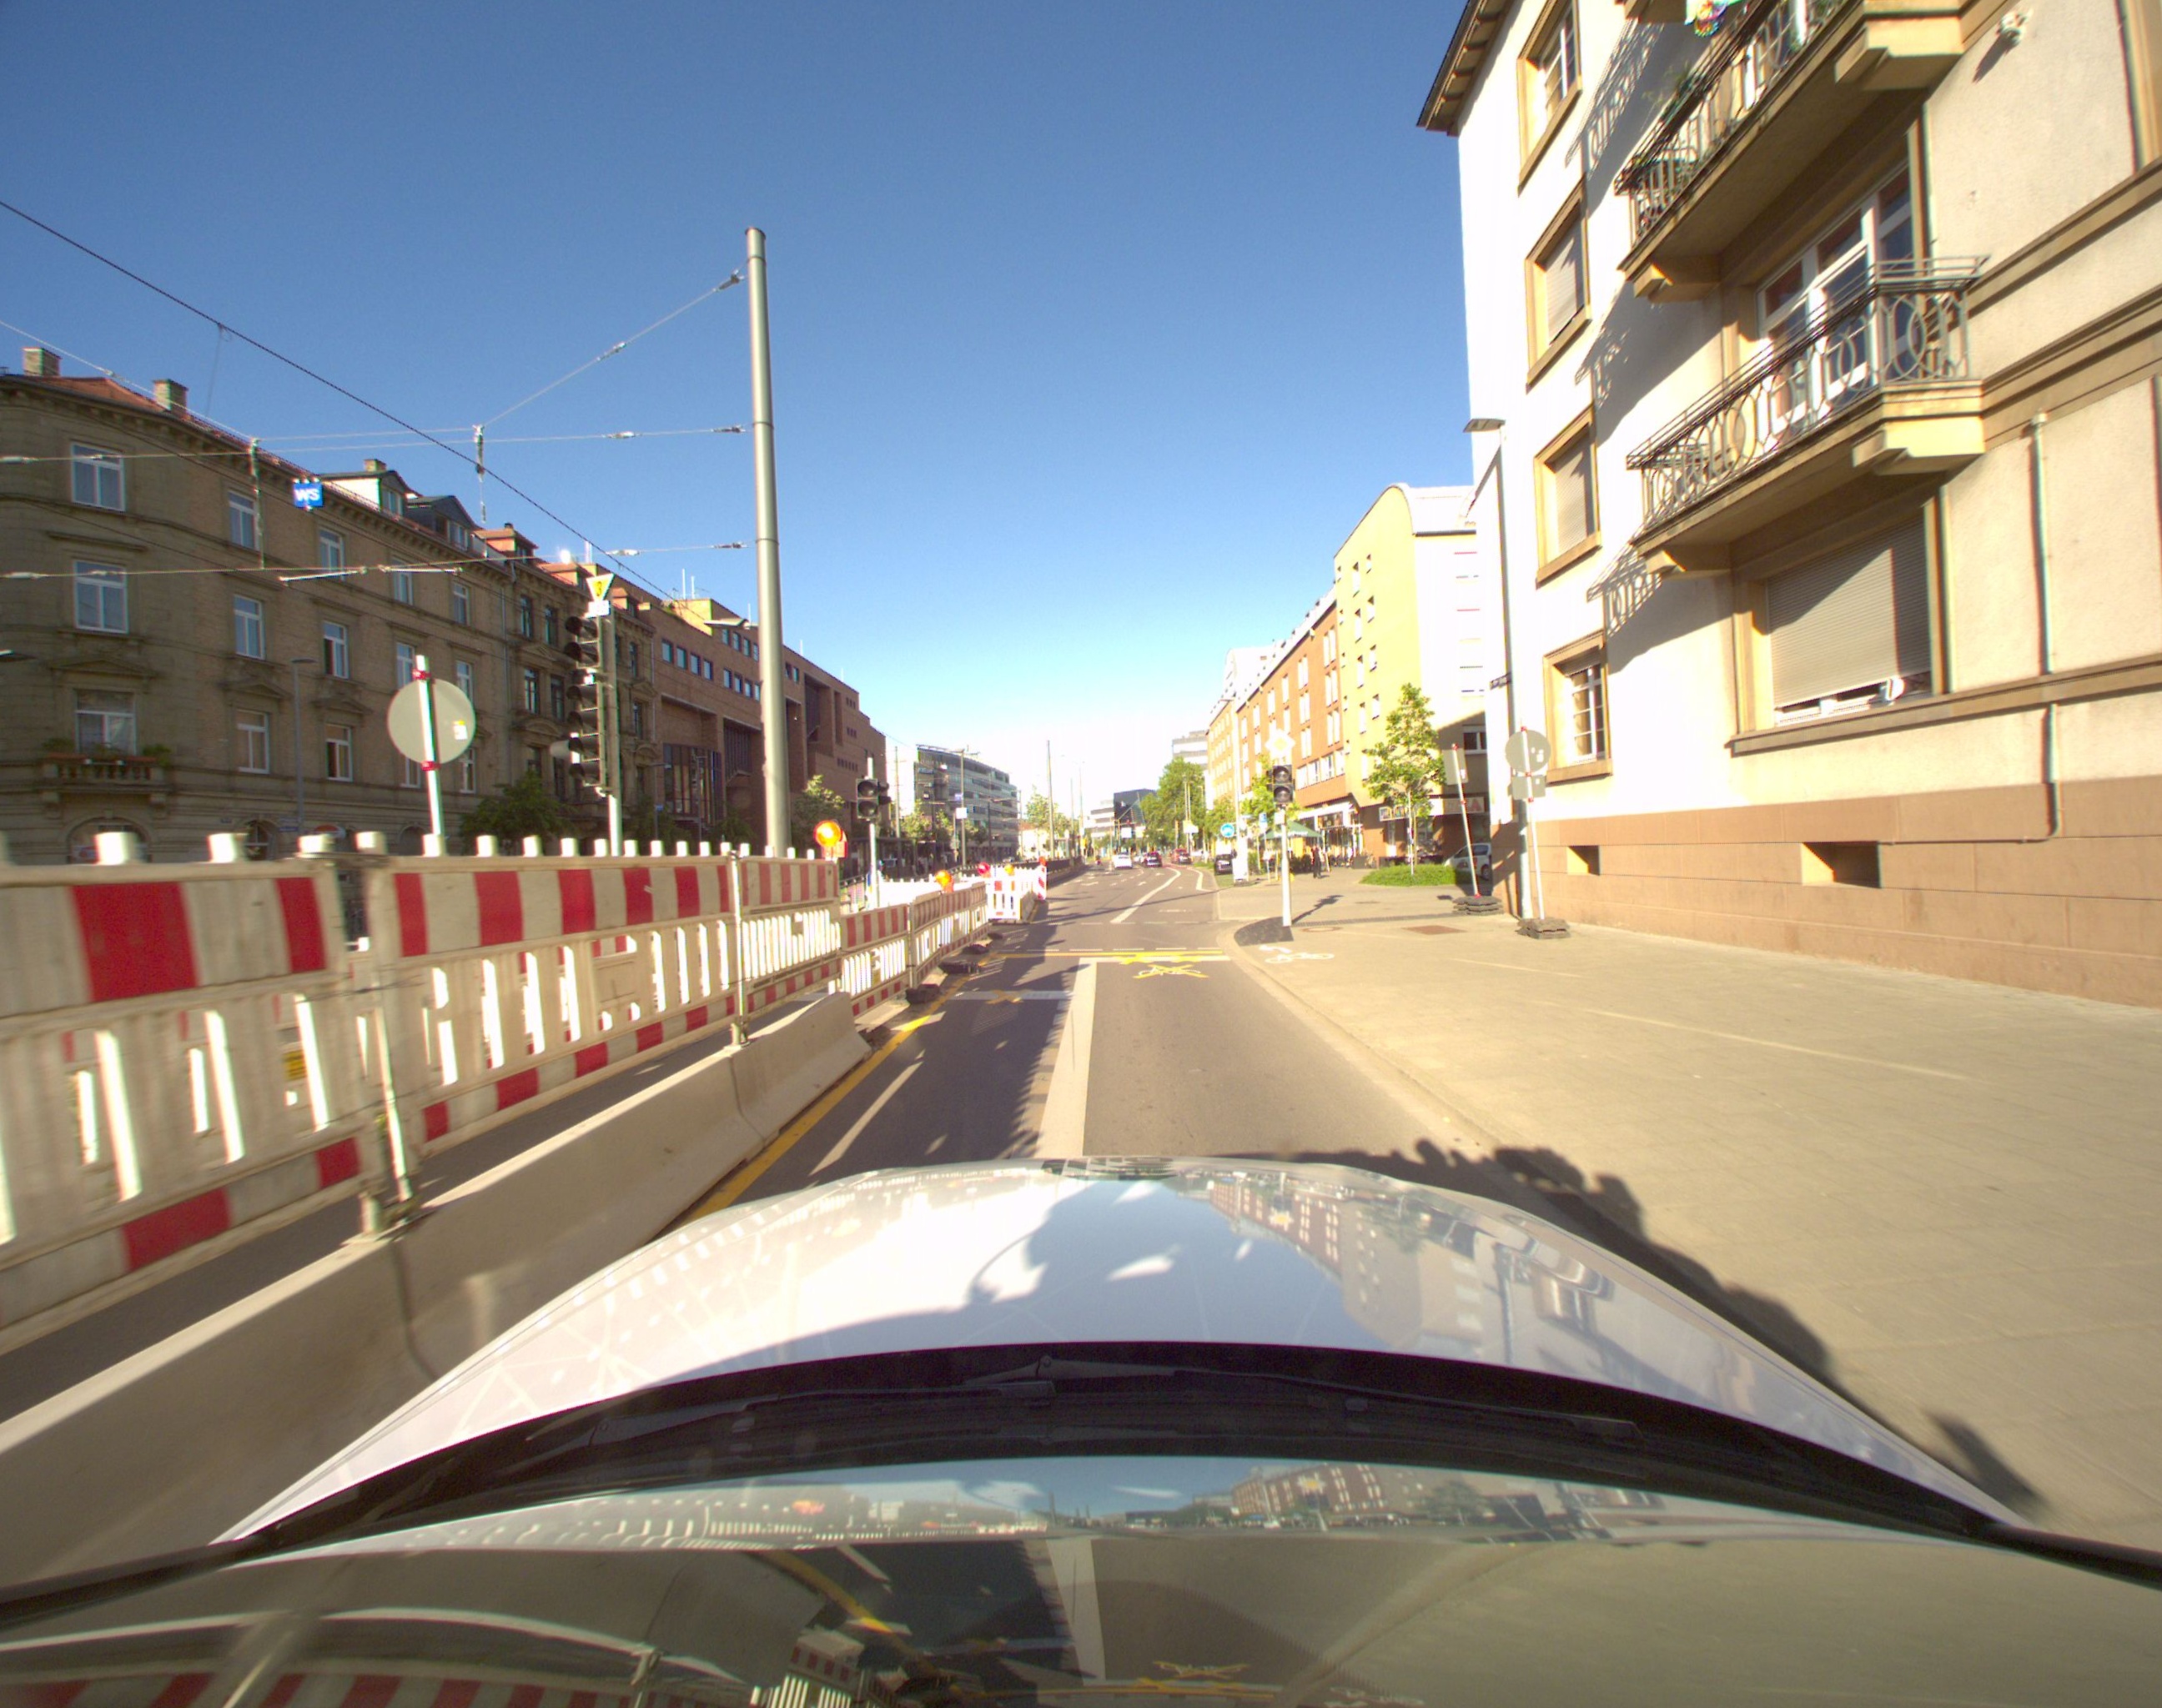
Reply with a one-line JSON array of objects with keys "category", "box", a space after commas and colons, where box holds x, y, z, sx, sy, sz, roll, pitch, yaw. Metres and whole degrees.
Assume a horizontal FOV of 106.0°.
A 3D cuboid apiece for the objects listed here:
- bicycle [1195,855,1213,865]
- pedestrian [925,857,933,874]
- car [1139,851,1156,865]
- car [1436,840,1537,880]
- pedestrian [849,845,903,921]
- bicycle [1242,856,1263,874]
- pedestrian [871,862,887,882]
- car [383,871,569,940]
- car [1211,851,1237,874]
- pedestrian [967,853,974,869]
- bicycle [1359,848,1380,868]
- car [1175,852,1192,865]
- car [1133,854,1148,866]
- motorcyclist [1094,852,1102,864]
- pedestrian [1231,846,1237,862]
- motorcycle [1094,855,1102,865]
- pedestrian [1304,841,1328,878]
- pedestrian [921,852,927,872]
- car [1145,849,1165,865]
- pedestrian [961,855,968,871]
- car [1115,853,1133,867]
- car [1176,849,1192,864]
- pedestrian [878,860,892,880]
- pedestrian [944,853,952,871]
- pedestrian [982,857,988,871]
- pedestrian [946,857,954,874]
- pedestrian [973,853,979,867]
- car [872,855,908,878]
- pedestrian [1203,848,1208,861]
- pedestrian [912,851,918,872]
[{"category": "bicycle", "box": [13.723, 0.627, 91.018, 1.929, 1.022, 0.504, -4, -1, 19]}, {"category": "pedestrian", "box": [-13.054, 0.969, 70.154, 0.537, 1.459, 0.643, 0, 0, 2]}, {"category": "car", "box": [8.038, 0.477, 98.289, 1.844, 1.639, 4.381, -2, 0, 2]}, {"category": "car", "box": [16.030, 0.210, 32.402, 1.662, 1.474, 3.824, 0, 0, -10]}, {"category": "pedestrian", "box": [-4.166, 0.577, 16.622, 0.787, 1.457, 0.946, -2, 0, 0]}, {"category": "bicycle", "box": [10.870, 0.712, 51.635, 0.763, 1.081, 1.997, -7, -1, -1]}, {"category": "pedestrian", "box": [-12.842, 1.130, 51.793, 0.718, 1.168, 0.722, -4, 0, 2]}, {"category": "car", "box": [-17.149, 1.386, 23.417, 1.789, 1.640, 4.479, -2, 0, 2]}, {"category": "car", "box": [10.796, 0.625, 61.577, 1.711, 1.636, 4.241, -3, 0, 8]}, {"category": "pedestrian", "box": [-11.388, 0.723, 84.005, 0.638, 1.696, 0.541, 0, 0, 2]}, {"category": "bicycle", "box": [17.761, 0.216, 50.139, 0.612, 1.169, 1.536, -4, 0, -1]}, {"category": "car", "box": [12.920, 0.544, 102.759, 1.839, 1.560, 4.635, 0, 0, 2]}, {"category": "car", "box": [8.449, 0.840, 115.563, 1.844, 1.497, 4.381, -2, 0, 2]}, {"category": "motorcyclist", "box": [2.359, 0.533, 110.953, 1.015, 1.603, 1.149, 0, 0, 2]}, {"category": "pedestrian", "box": [18.392, 0.007, 97.990, 0.604, 1.821, 0.749, -2, -1, 1]}, {"category": "motorcycle", "box": [2.367, 0.767, 110.956, 1.015, 1.312, 2.916, 0, 0, 2]}, {"category": "pedestrian", "box": [11.526, 0.265, 39.930, 0.876, 1.763, 1.111, -5, -2, 22]}, {"category": "pedestrian", "box": [-13.043, 0.657, 67.499, 0.376, 1.621, 0.553, 0, 0, 2]}, {"category": "car", "box": [8.184, 0.352, 90.583, 1.967, 1.759, 4.635, 0, 0, 2]}, {"category": "pedestrian", "box": [-12.365, 0.946, 86.117, 0.579, 1.738, 0.616, -1, 0, 2]}, {"category": "car", "box": [4.473, 0.560, 85.054, 1.774, 1.414, 4.821, 0, 0, 2]}, {"category": "car", "box": [13.774, 0.273, 109.362, 1.852, 1.961, 4.004, 0, 0, 3]}, {"category": "pedestrian", "box": [-12.940, 1.059, 53.836, 0.643, 1.309, 0.722, -4, 0, 2]}, {"category": "pedestrian", "box": [-12.870, 0.756, 78.566, 0.620, 1.714, 0.616, -1, 0, 2]}, {"category": "pedestrian", "box": [-11.306, 1.132, 95.867, 0.638, 1.643, 0.946, 0, 0, 2]}, {"category": "pedestrian", "box": [-12.793, 1.117, 79.318, 0.620, 1.612, 0.616, -1, 0, 2]}, {"category": "pedestrian", "box": [-12.988, 0.740, 100.842, 0.561, 1.609, 0.616, -1, 0, 2]}, {"category": "car", "box": [-16.277, 1.050, 69.674, 1.988, 1.880, 4.581, -2, 0, -1]}, {"category": "pedestrian", "box": [17.994, 0.065, 117.556, 0.604, 1.821, 0.749, -2, -1, 1]}, {"category": "pedestrian", "box": [-13.179, 0.609, 64.686, 0.376, 1.648, 0.416, 0, 0, 2]}]
